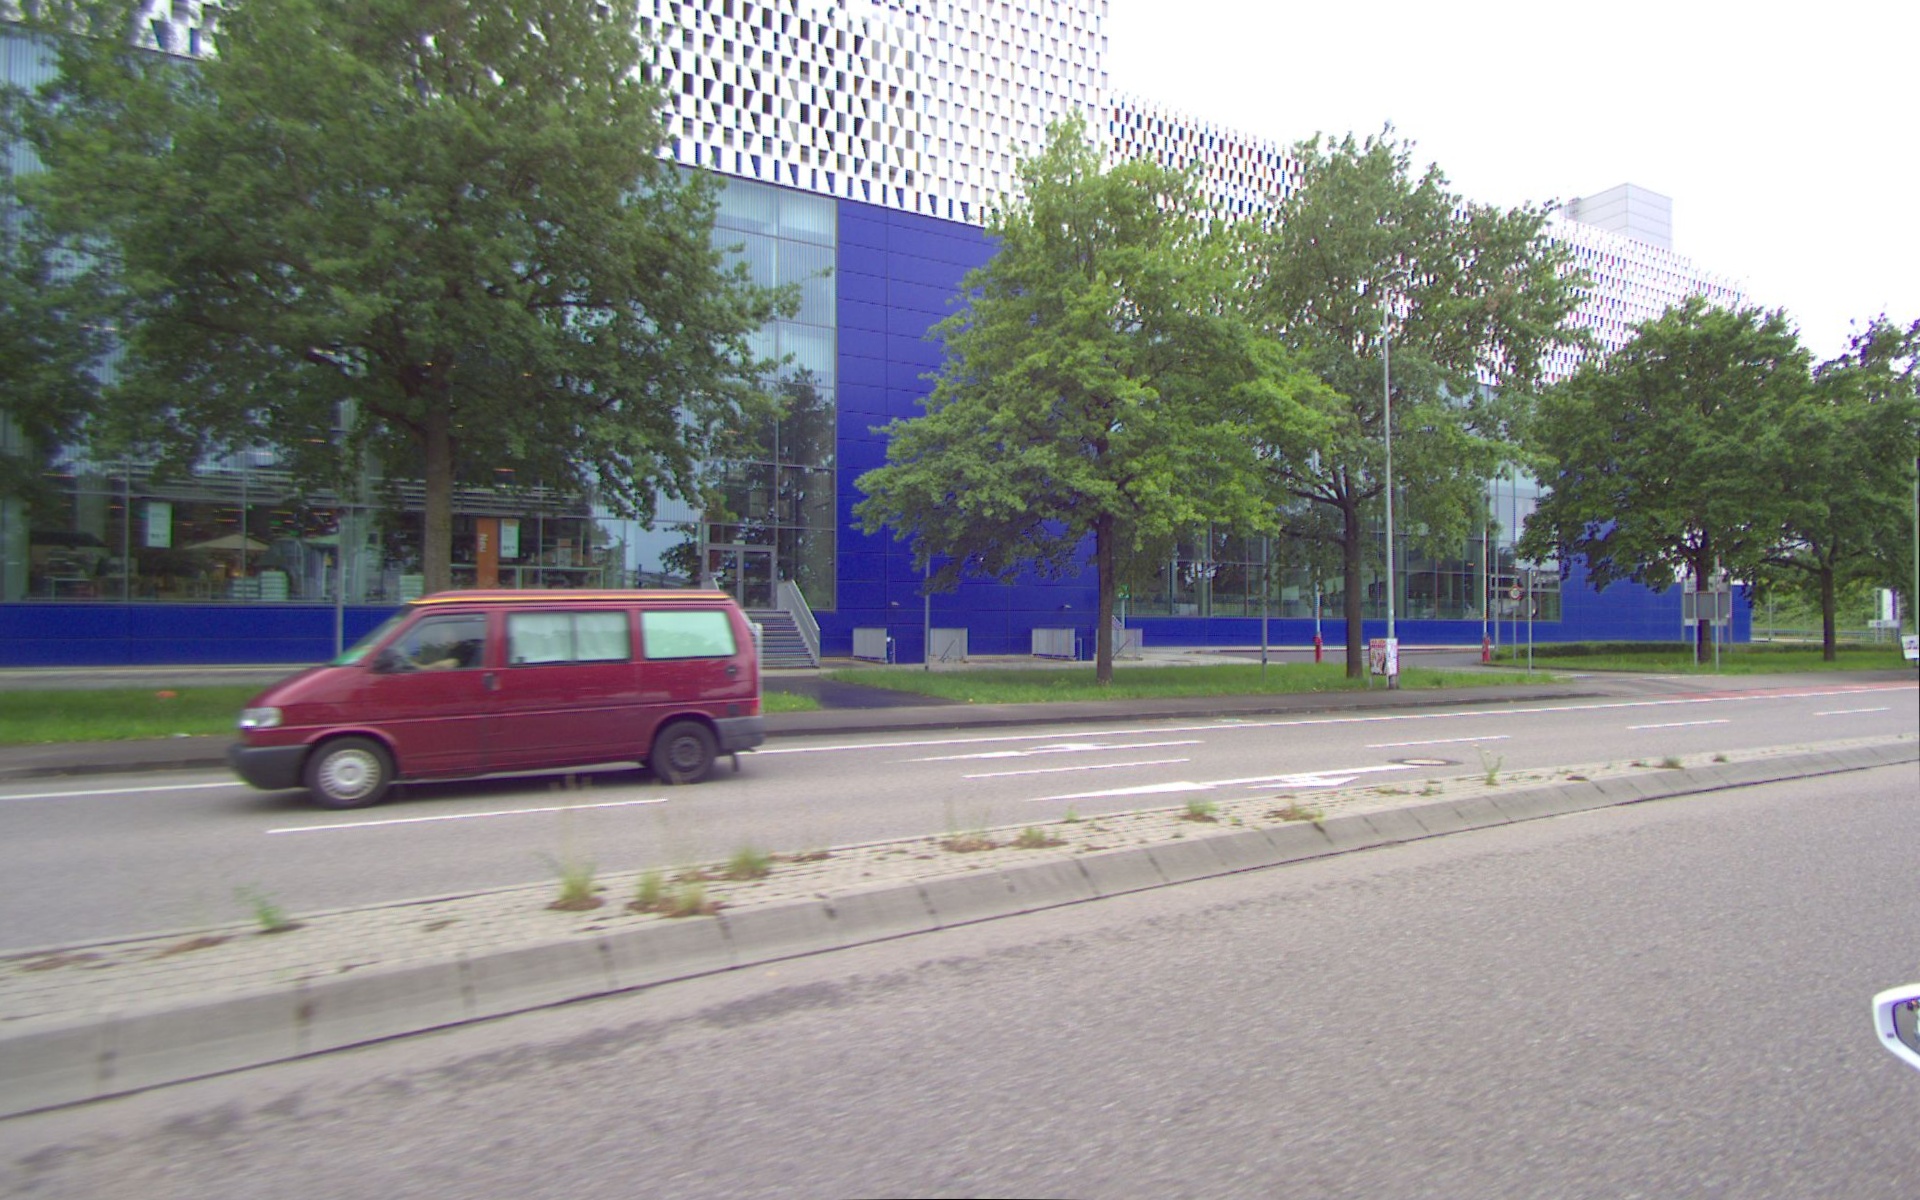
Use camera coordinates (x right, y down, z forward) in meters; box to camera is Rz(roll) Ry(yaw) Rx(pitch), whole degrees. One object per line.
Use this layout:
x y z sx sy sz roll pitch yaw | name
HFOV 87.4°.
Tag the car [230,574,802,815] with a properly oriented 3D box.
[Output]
-4.188 0.828 10.102 4.848 1.949 1.760 1 -2 -28 | car
